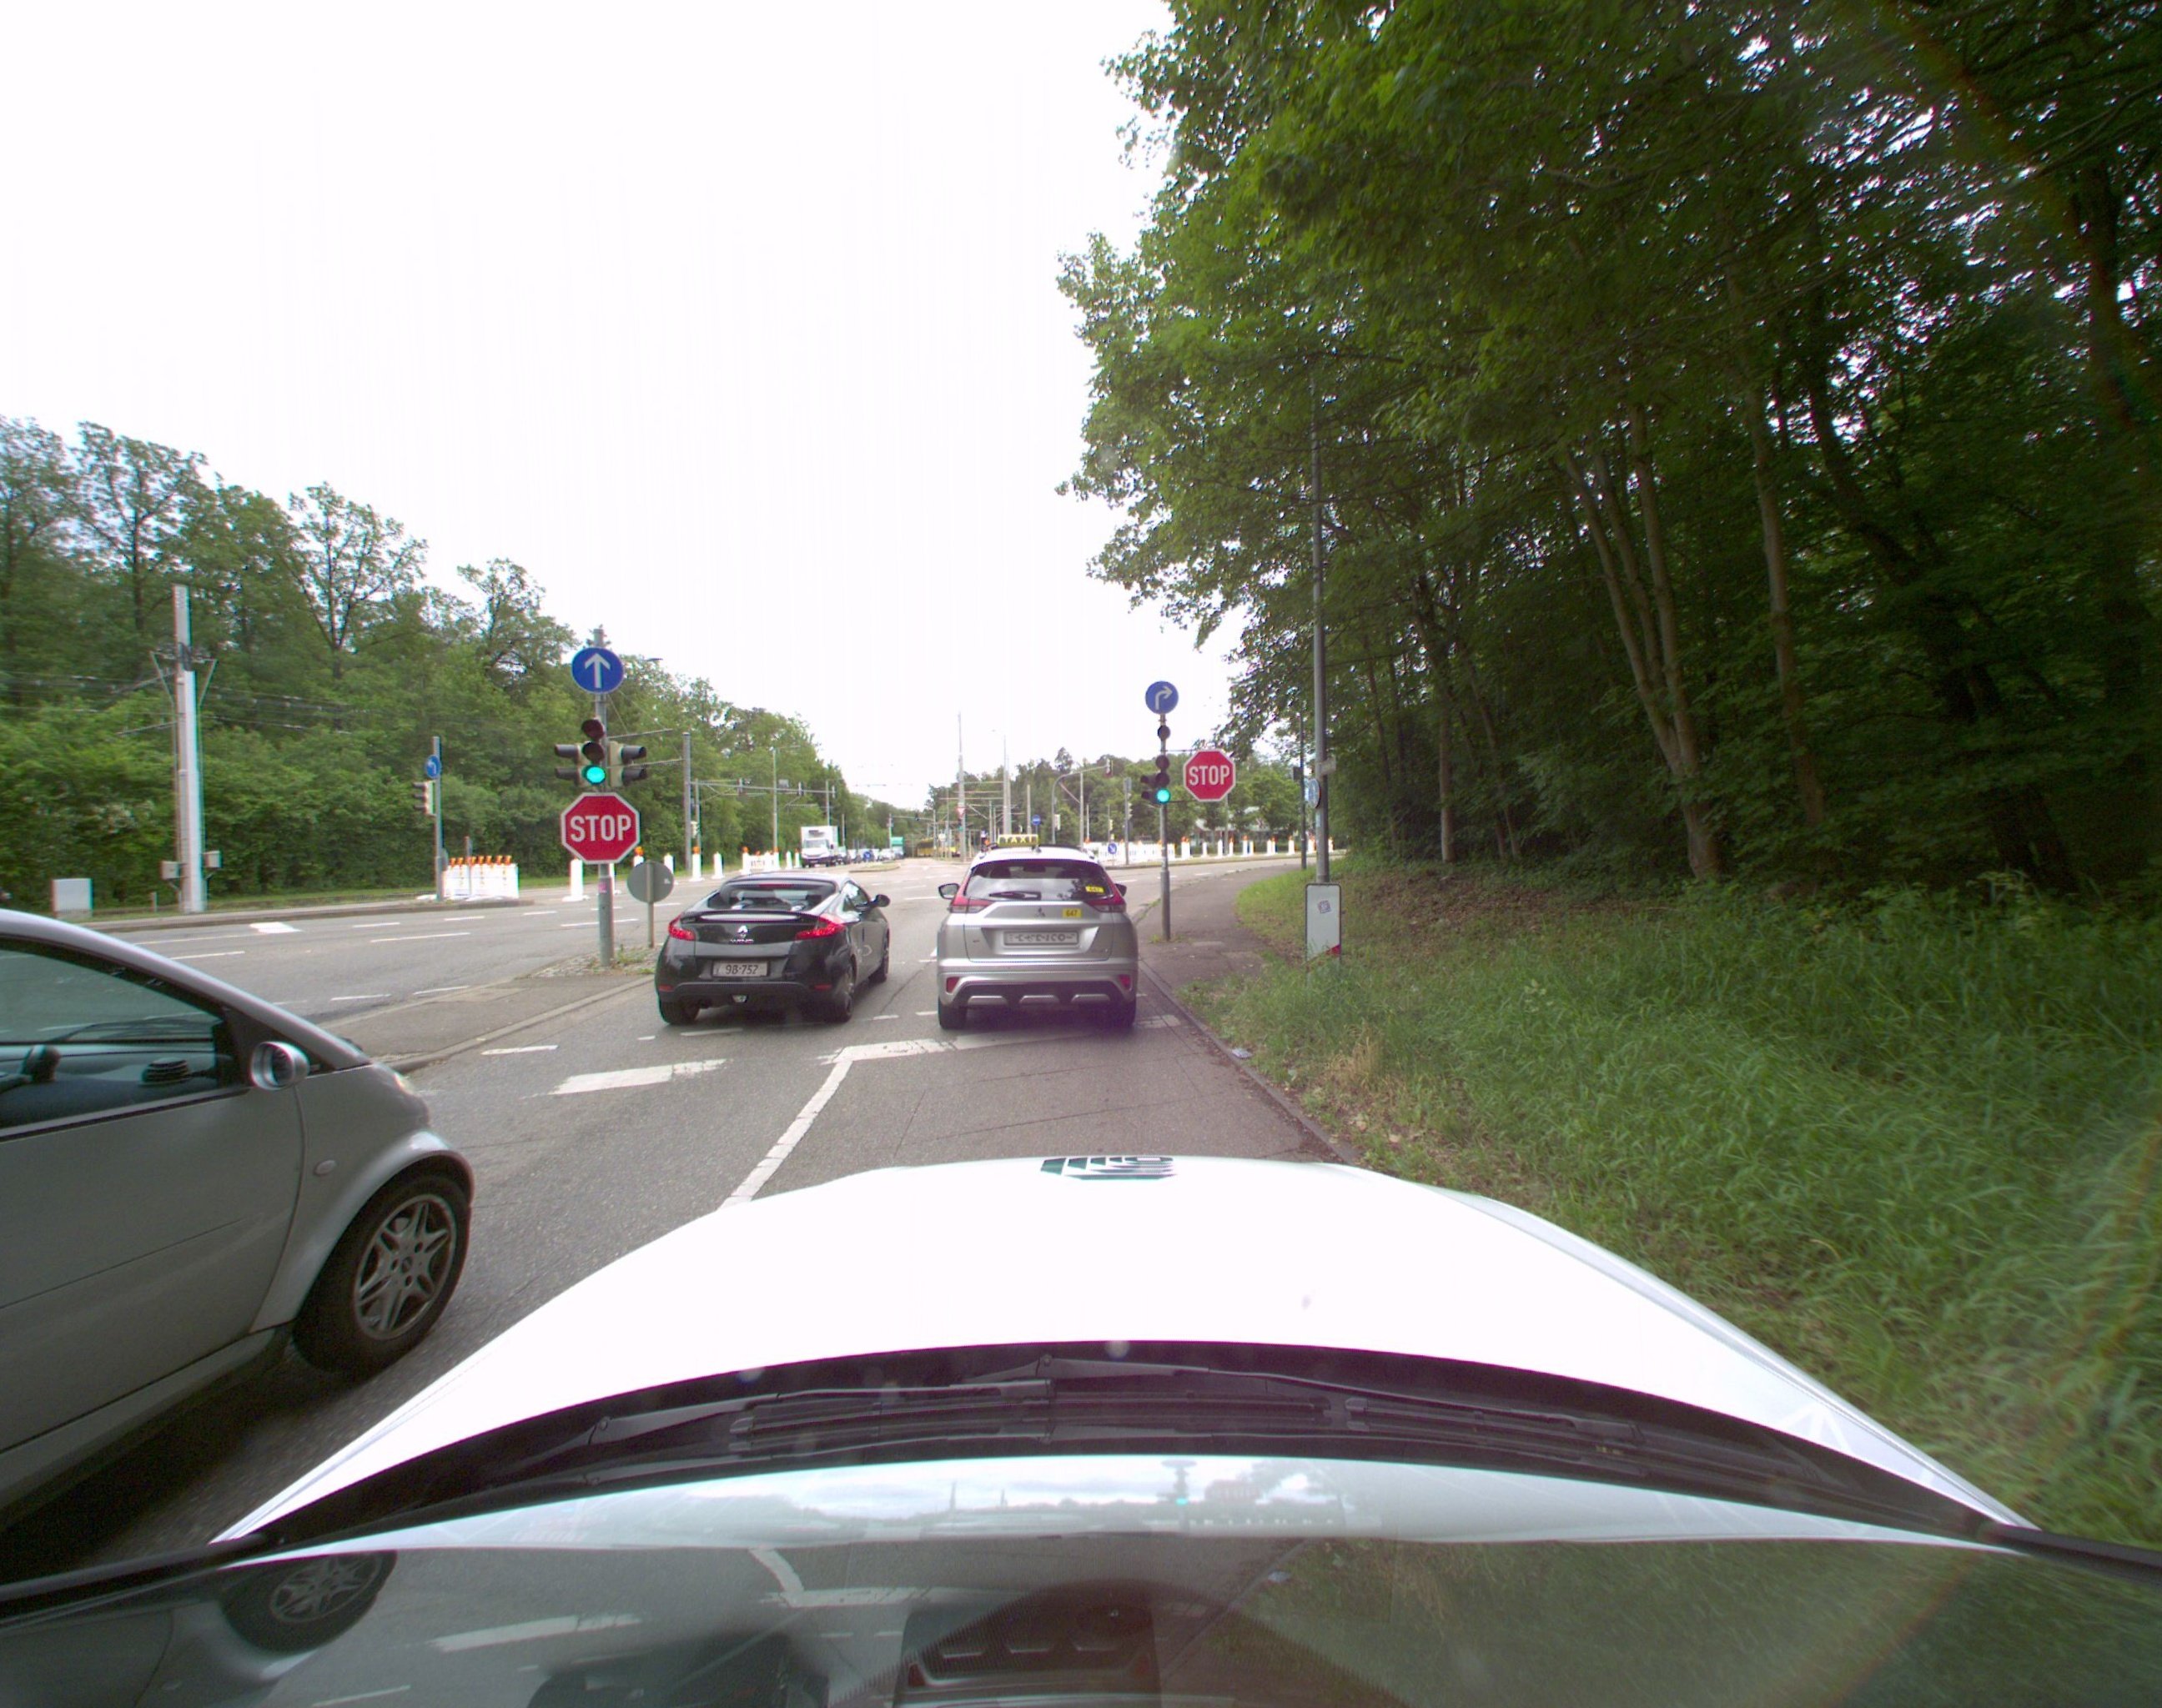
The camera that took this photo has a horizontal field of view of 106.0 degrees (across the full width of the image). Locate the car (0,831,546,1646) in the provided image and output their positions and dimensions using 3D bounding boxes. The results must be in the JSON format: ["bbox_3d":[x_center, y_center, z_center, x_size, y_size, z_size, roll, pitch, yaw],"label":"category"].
[{"bbox_3d":[-2.857,0.772,1.830,1.453,1.586,2.727,-2,0,0],"label":"car"}]

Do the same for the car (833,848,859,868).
[{"bbox_3d":[-22.532,0.357,78.241,1.962,1.750,4.829,-1,1,-10],"label":"car"}]

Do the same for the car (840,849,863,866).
[{"bbox_3d":[-26.271,0.320,93.288,1.962,1.845,4.674,-1,1,-9],"label":"car"}]

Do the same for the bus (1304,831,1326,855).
[{"bbox_3d":[37.463,-1.764,130.598,2.801,3.603,12.853,-1,1,14],"label":"bus"}]

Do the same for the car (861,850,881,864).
[{"bbox_3d":[-26.022,0.381,100.947,1.962,1.607,4.296,-1,1,-10],"label":"car"}]

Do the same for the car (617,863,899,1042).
[{"bbox_3d":[-3.090,0.842,8.592,1.771,1.361,3.471,-2,0,-5],"label":"car"}]

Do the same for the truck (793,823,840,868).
[{"bbox_3d":[-20.581,-0.659,63.707,2.449,3.224,7.130,-2,0,-10],"label":"truck"}]

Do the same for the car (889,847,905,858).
[{"bbox_3d":[-27.110,-0.195,120.257,1.962,1.540,4.296,-1,1,-10],"label":"car"}]

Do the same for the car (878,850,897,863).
[{"bbox_3d":[-25.366,0.329,106.852,1.962,1.541,4.382,-1,1,-9],"label":"car"}]

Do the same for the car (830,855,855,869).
[{"bbox_3d":[-25.076,0.786,85.690,1.962,1.361,4.674,-1,1,-9],"label":"car"}]

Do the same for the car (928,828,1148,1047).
[{"bbox_3d":[-0.421,0.661,8.456,1.769,1.748,3.777,0,0,-3],"label":"car"}]
